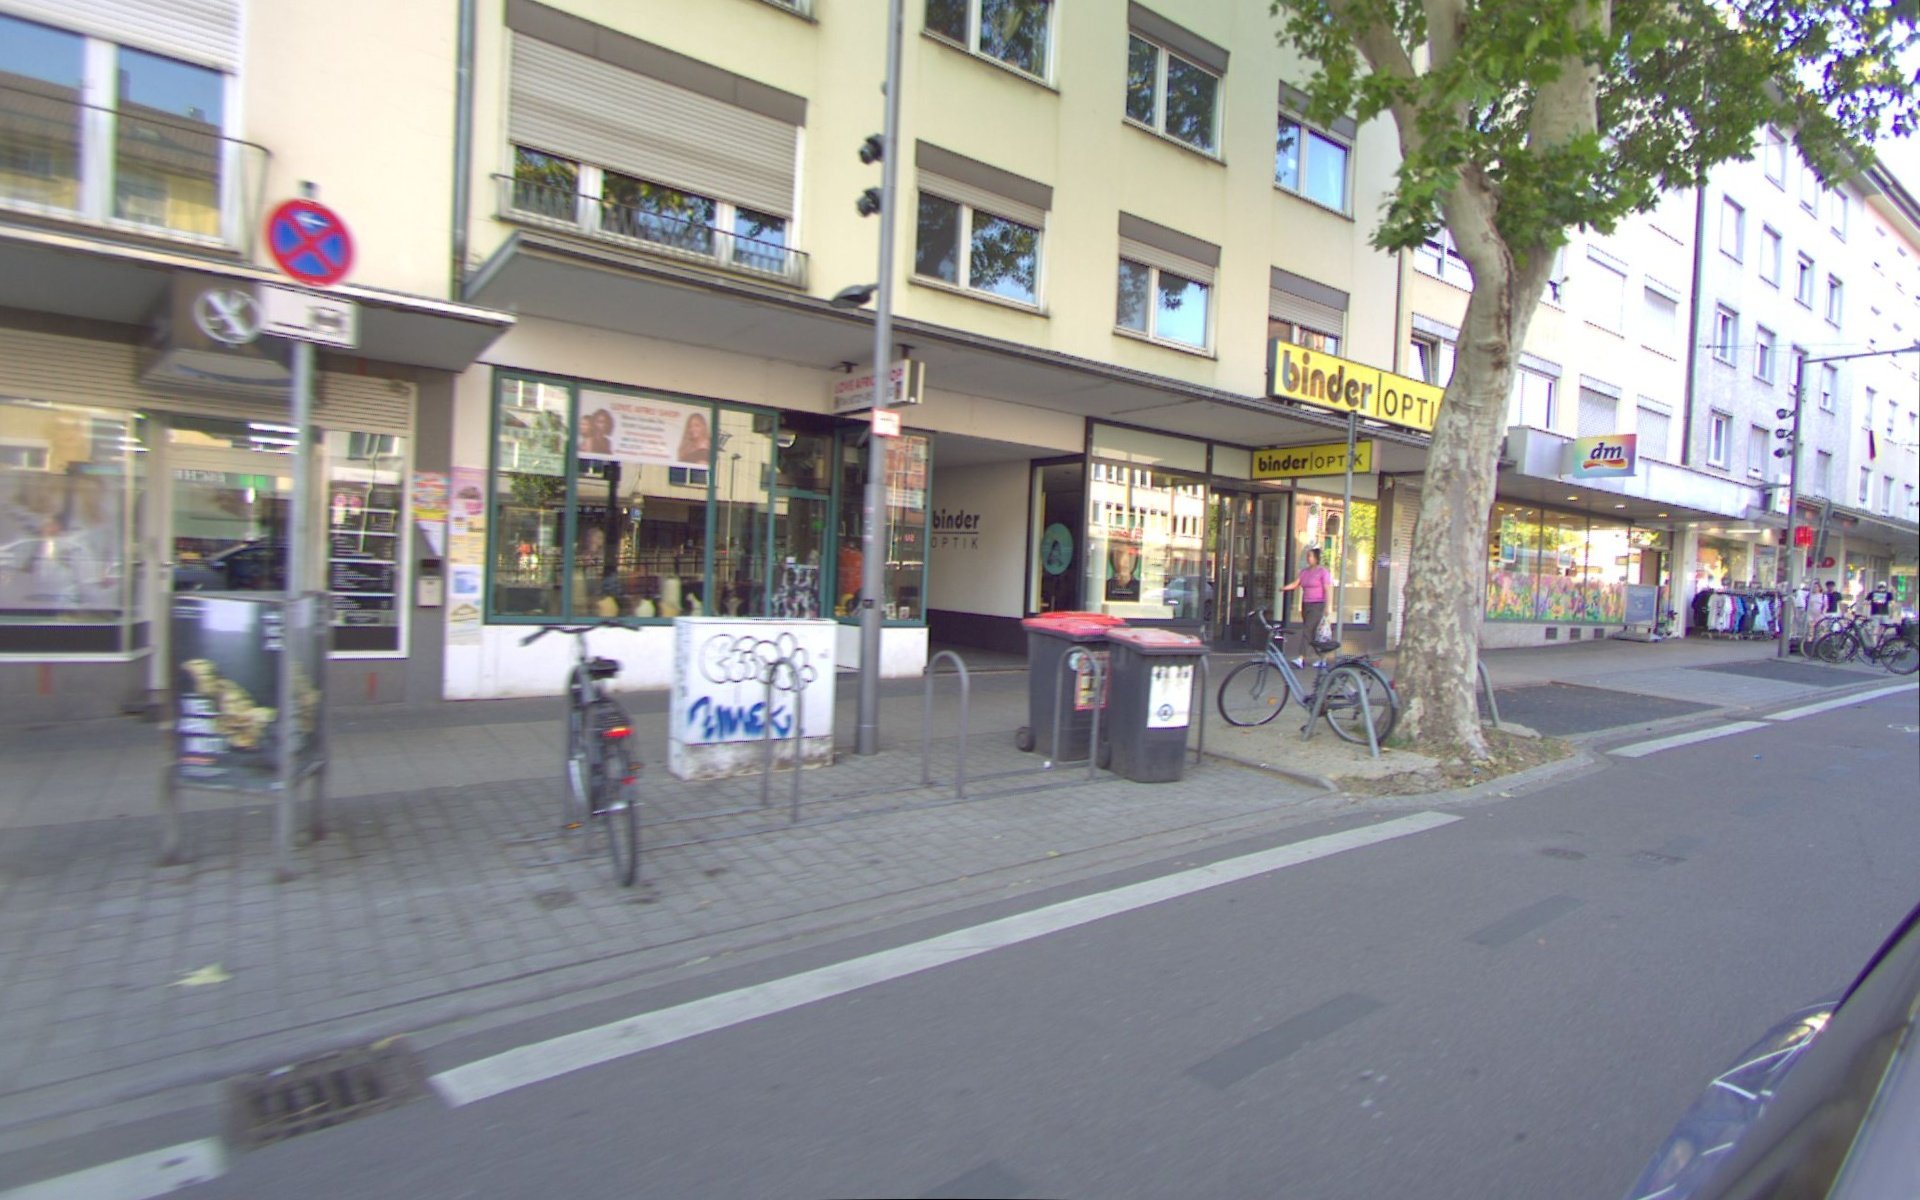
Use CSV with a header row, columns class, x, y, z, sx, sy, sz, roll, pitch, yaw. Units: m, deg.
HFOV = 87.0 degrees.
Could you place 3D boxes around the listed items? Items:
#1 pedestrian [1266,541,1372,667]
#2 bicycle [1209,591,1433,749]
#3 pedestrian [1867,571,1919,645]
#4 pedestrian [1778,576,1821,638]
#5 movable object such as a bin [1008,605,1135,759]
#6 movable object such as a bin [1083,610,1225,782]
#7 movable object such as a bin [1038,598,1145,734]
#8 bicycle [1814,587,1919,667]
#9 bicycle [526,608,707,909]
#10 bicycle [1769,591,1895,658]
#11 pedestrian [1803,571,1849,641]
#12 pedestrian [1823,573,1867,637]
class,x,y,z,sx,sy,sz,roll,pitch,yaw
pedestrian,5.353,0.033,15.109,1.112,1.784,0.971,0,3,-36
bicycle,3.082,0.543,8.795,0.732,1.130,1.723,-4,5,-35
pedestrian,24.260,0.203,26.218,0.913,1.821,0.776,1,4,-35
pedestrian,21.218,0.175,25.588,0.879,1.520,0.543,2,3,-36
movable object such as a bin,0.886,0.622,8.094,0.632,1.084,0.724,0,5,-38
movable object such as a bin,1.416,0.672,7.453,0.631,1.115,0.726,1,5,-30
movable object such as a bin,1.134,0.557,8.843,0.630,1.085,0.726,1,3,-18
bicycle,18.236,0.520,20.014,0.679,1.326,1.798,2,6,-24
bicycle,-1.844,0.682,5.242,0.508,1.118,1.917,1,4,-30
bicycle,18.390,0.493,21.401,1.777,1.137,0.658,7,6,27
pedestrian,21.036,0.143,24.581,0.879,1.648,0.548,2,3,-36
pedestrian,24.167,0.135,27.631,1.049,1.695,0.570,1,4,-36
